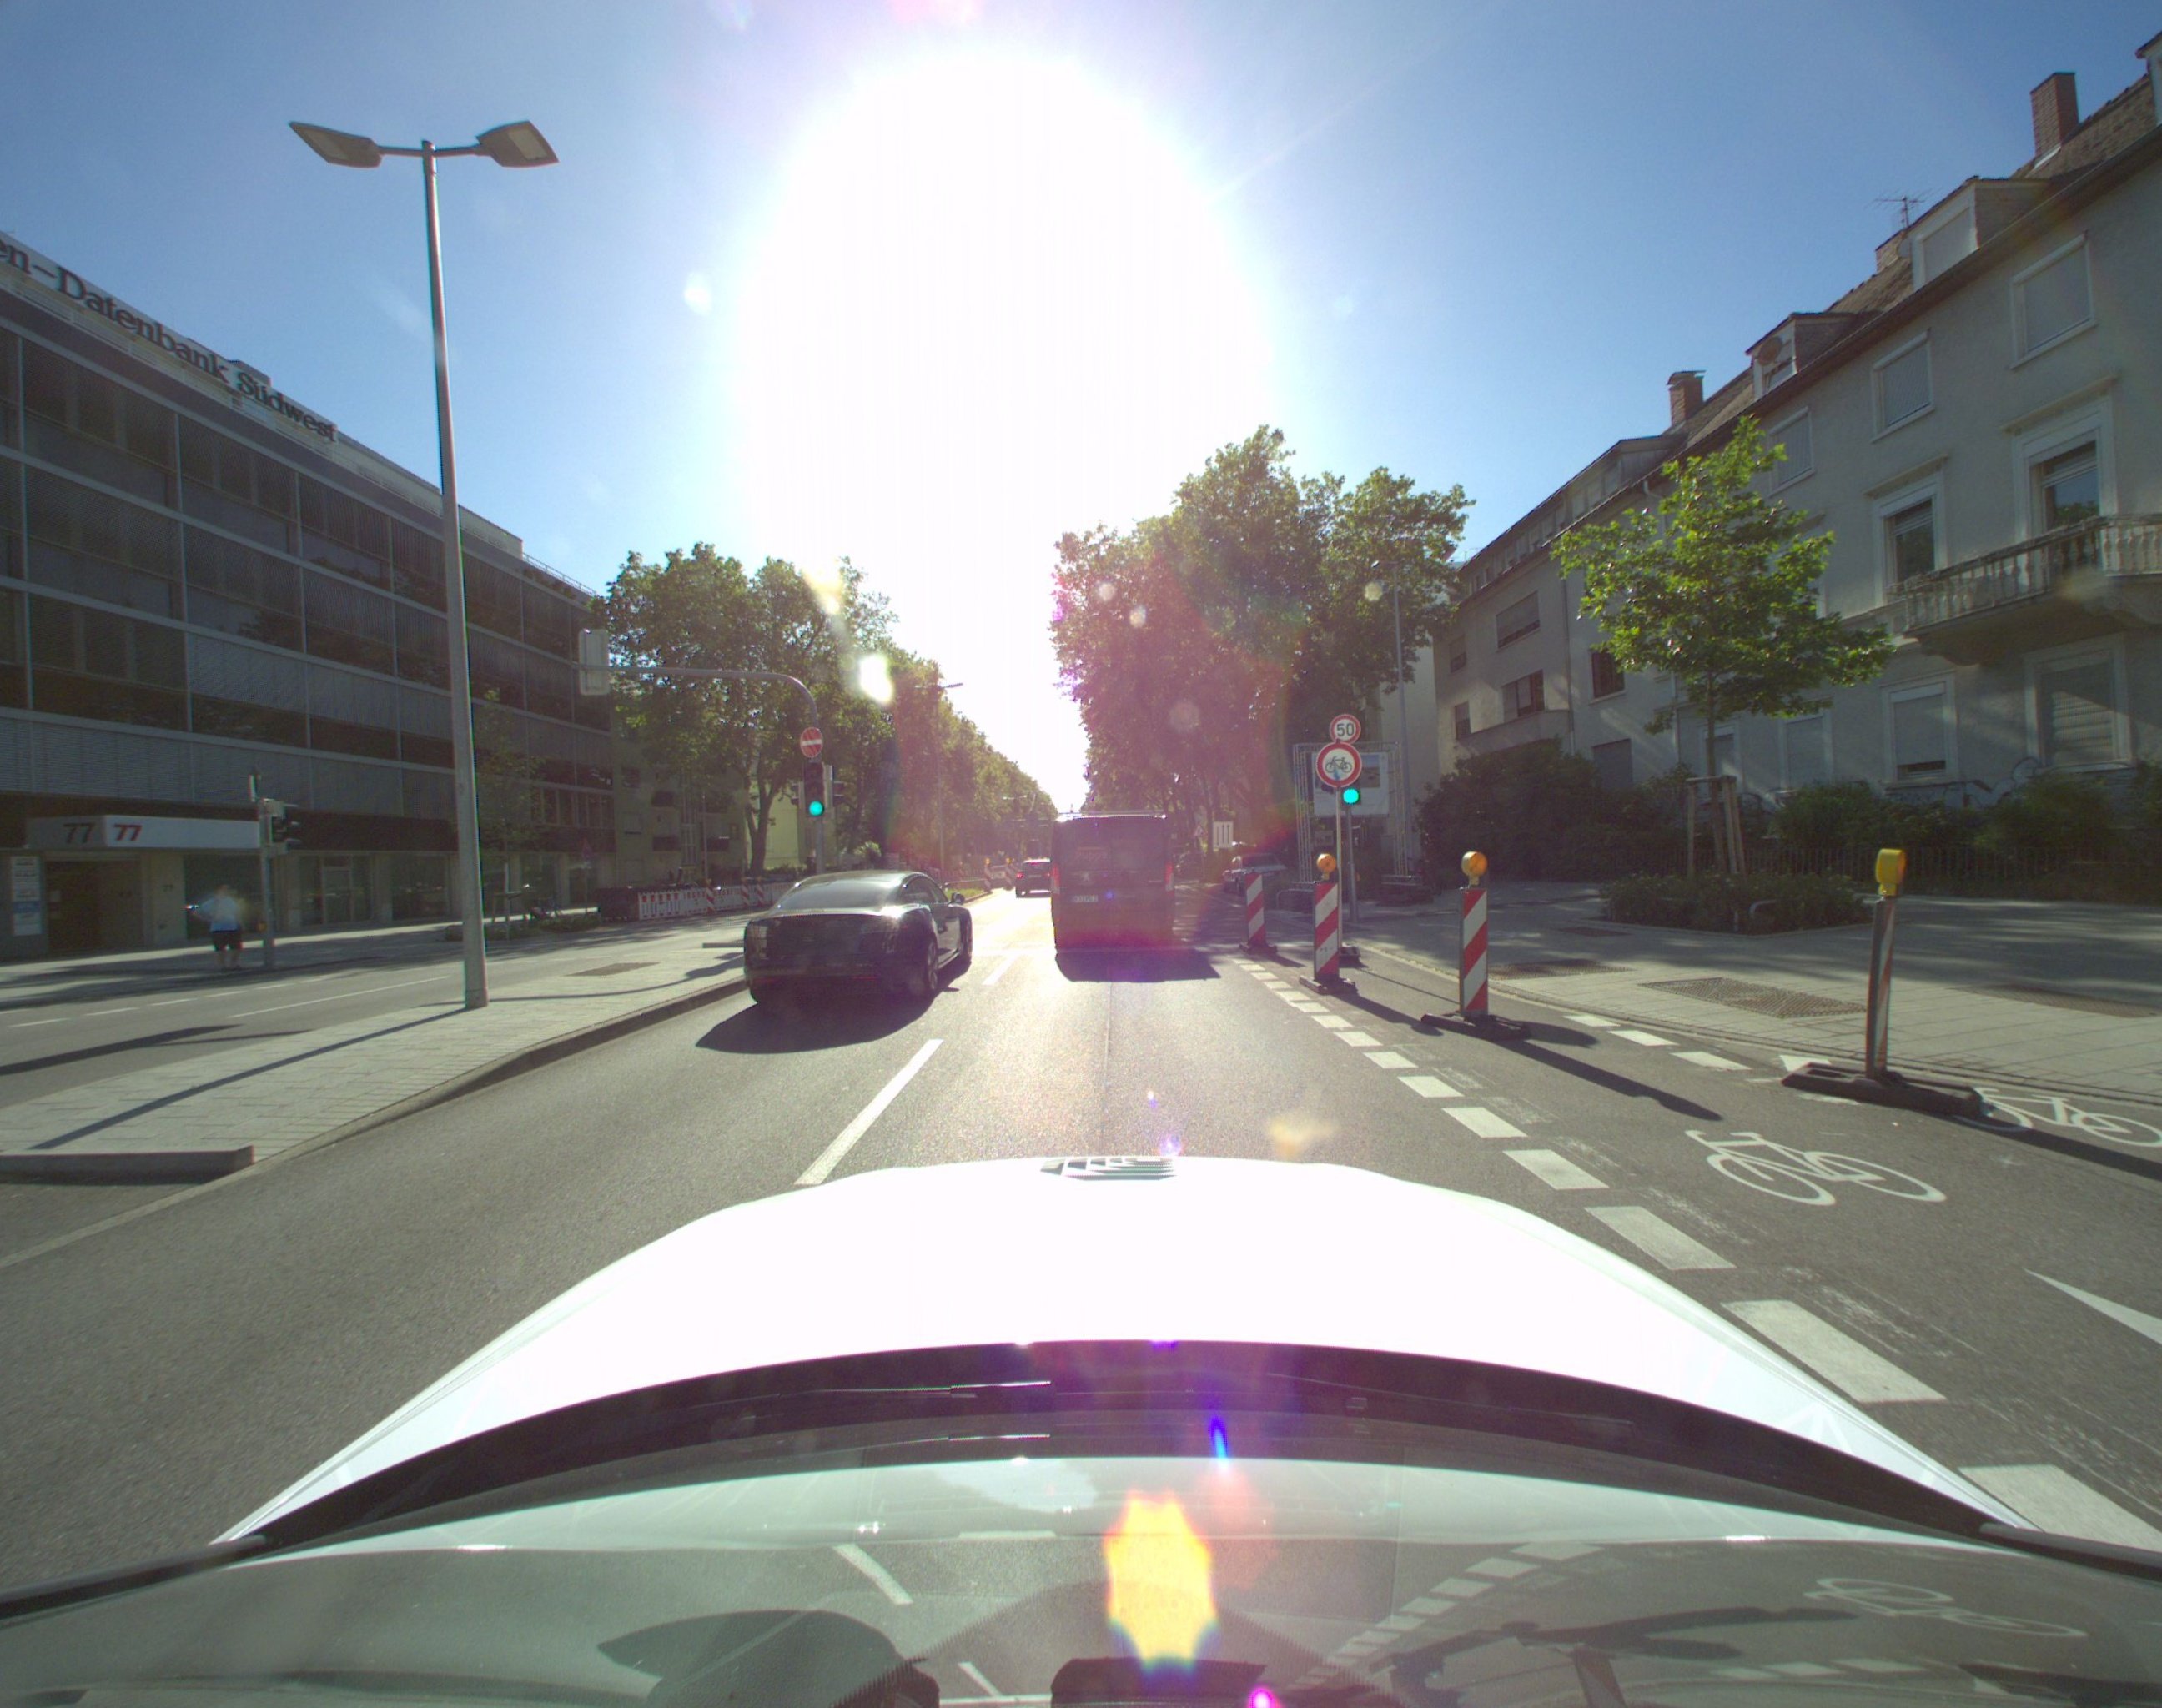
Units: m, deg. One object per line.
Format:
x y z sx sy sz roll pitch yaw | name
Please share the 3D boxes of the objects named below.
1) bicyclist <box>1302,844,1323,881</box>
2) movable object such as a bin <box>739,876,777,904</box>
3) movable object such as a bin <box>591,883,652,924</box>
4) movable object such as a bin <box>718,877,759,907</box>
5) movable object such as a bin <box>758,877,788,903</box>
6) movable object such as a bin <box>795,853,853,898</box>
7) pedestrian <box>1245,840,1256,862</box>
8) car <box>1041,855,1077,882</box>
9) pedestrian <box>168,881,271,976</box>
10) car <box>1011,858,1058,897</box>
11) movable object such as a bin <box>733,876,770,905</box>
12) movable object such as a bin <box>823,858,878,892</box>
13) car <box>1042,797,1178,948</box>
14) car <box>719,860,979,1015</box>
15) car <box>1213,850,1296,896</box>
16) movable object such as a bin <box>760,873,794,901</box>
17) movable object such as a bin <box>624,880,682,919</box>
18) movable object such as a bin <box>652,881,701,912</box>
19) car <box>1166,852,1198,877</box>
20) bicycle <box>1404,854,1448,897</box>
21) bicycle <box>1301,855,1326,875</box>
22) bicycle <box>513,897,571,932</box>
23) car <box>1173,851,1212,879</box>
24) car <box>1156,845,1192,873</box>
11.601 0.427 40.831 0.721 1.820 1.071 -2 0 2 | bicyclist
-16.551 1.823 41.759 1.404 1.338 1.069 -2 0 2 | movable object such as a bin
-17.063 1.828 30.295 1.109 1.388 1.857 -2 0 2 | movable object such as a bin
-16.660 1.847 39.639 1.404 1.338 1.157 -2 0 3 | movable object such as a bin
-16.274 1.879 43.060 0.976 1.271 1.540 -2 0 1 | movable object such as a bin
-16.682 1.348 53.182 2.141 2.706 5.350 -2 0 -2 | movable object such as a bin
13.136 -0.260 63.161 0.704 1.648 0.674 0 2 -2 | pedestrian
-1.279 0.827 49.027 1.904 1.444 4.603 -3 0 1 | car
-16.784 1.428 15.897 0.860 1.710 1.014 -3 0 8 | pedestrian
-1.876 0.921 33.595 1.741 1.407 3.998 -1 0 -1 | car
-16.453 1.832 40.724 1.404 1.338 0.936 -2 0 2 | movable object such as a bin
-16.691 1.488 59.363 1.985 2.278 5.603 -3 -1 3 | movable object such as a bin
0.531 0.278 14.954 2.087 2.355 3.935 -2 0 2 | car
-2.578 0.839 10.346 1.919 1.412 4.625 -2 0 0 | car
6.195 0.650 29.665 1.846 1.479 4.940 -2 0 -1 | car
-16.764 1.794 44.884 1.638 1.423 1.252 -2 0 -25 | movable object such as a bin
-17.123 1.807 32.631 1.210 1.388 1.857 -2 0 2 | movable object such as a bin
-17.058 1.791 34.370 1.388 1.203 1.242 -2 0 3 | movable object such as a bin
6.622 0.654 53.884 1.652 1.540 4.129 -2 0 1 | car
8.892 0.534 20.941 0.581 1.005 2.145 -2 0 35 | bicycle
11.613 0.552 40.789 0.779 0.966 1.824 -2 0 3 | bicycle
-18.334 2.036 27.760 0.624 1.037 1.880 -2 0 2 | bicycle
6.634 0.647 48.893 1.757 1.508 4.251 -2 0 1 | car
6.835 0.384 60.575 2.019 1.946 5.273 -2 0 0 | car
